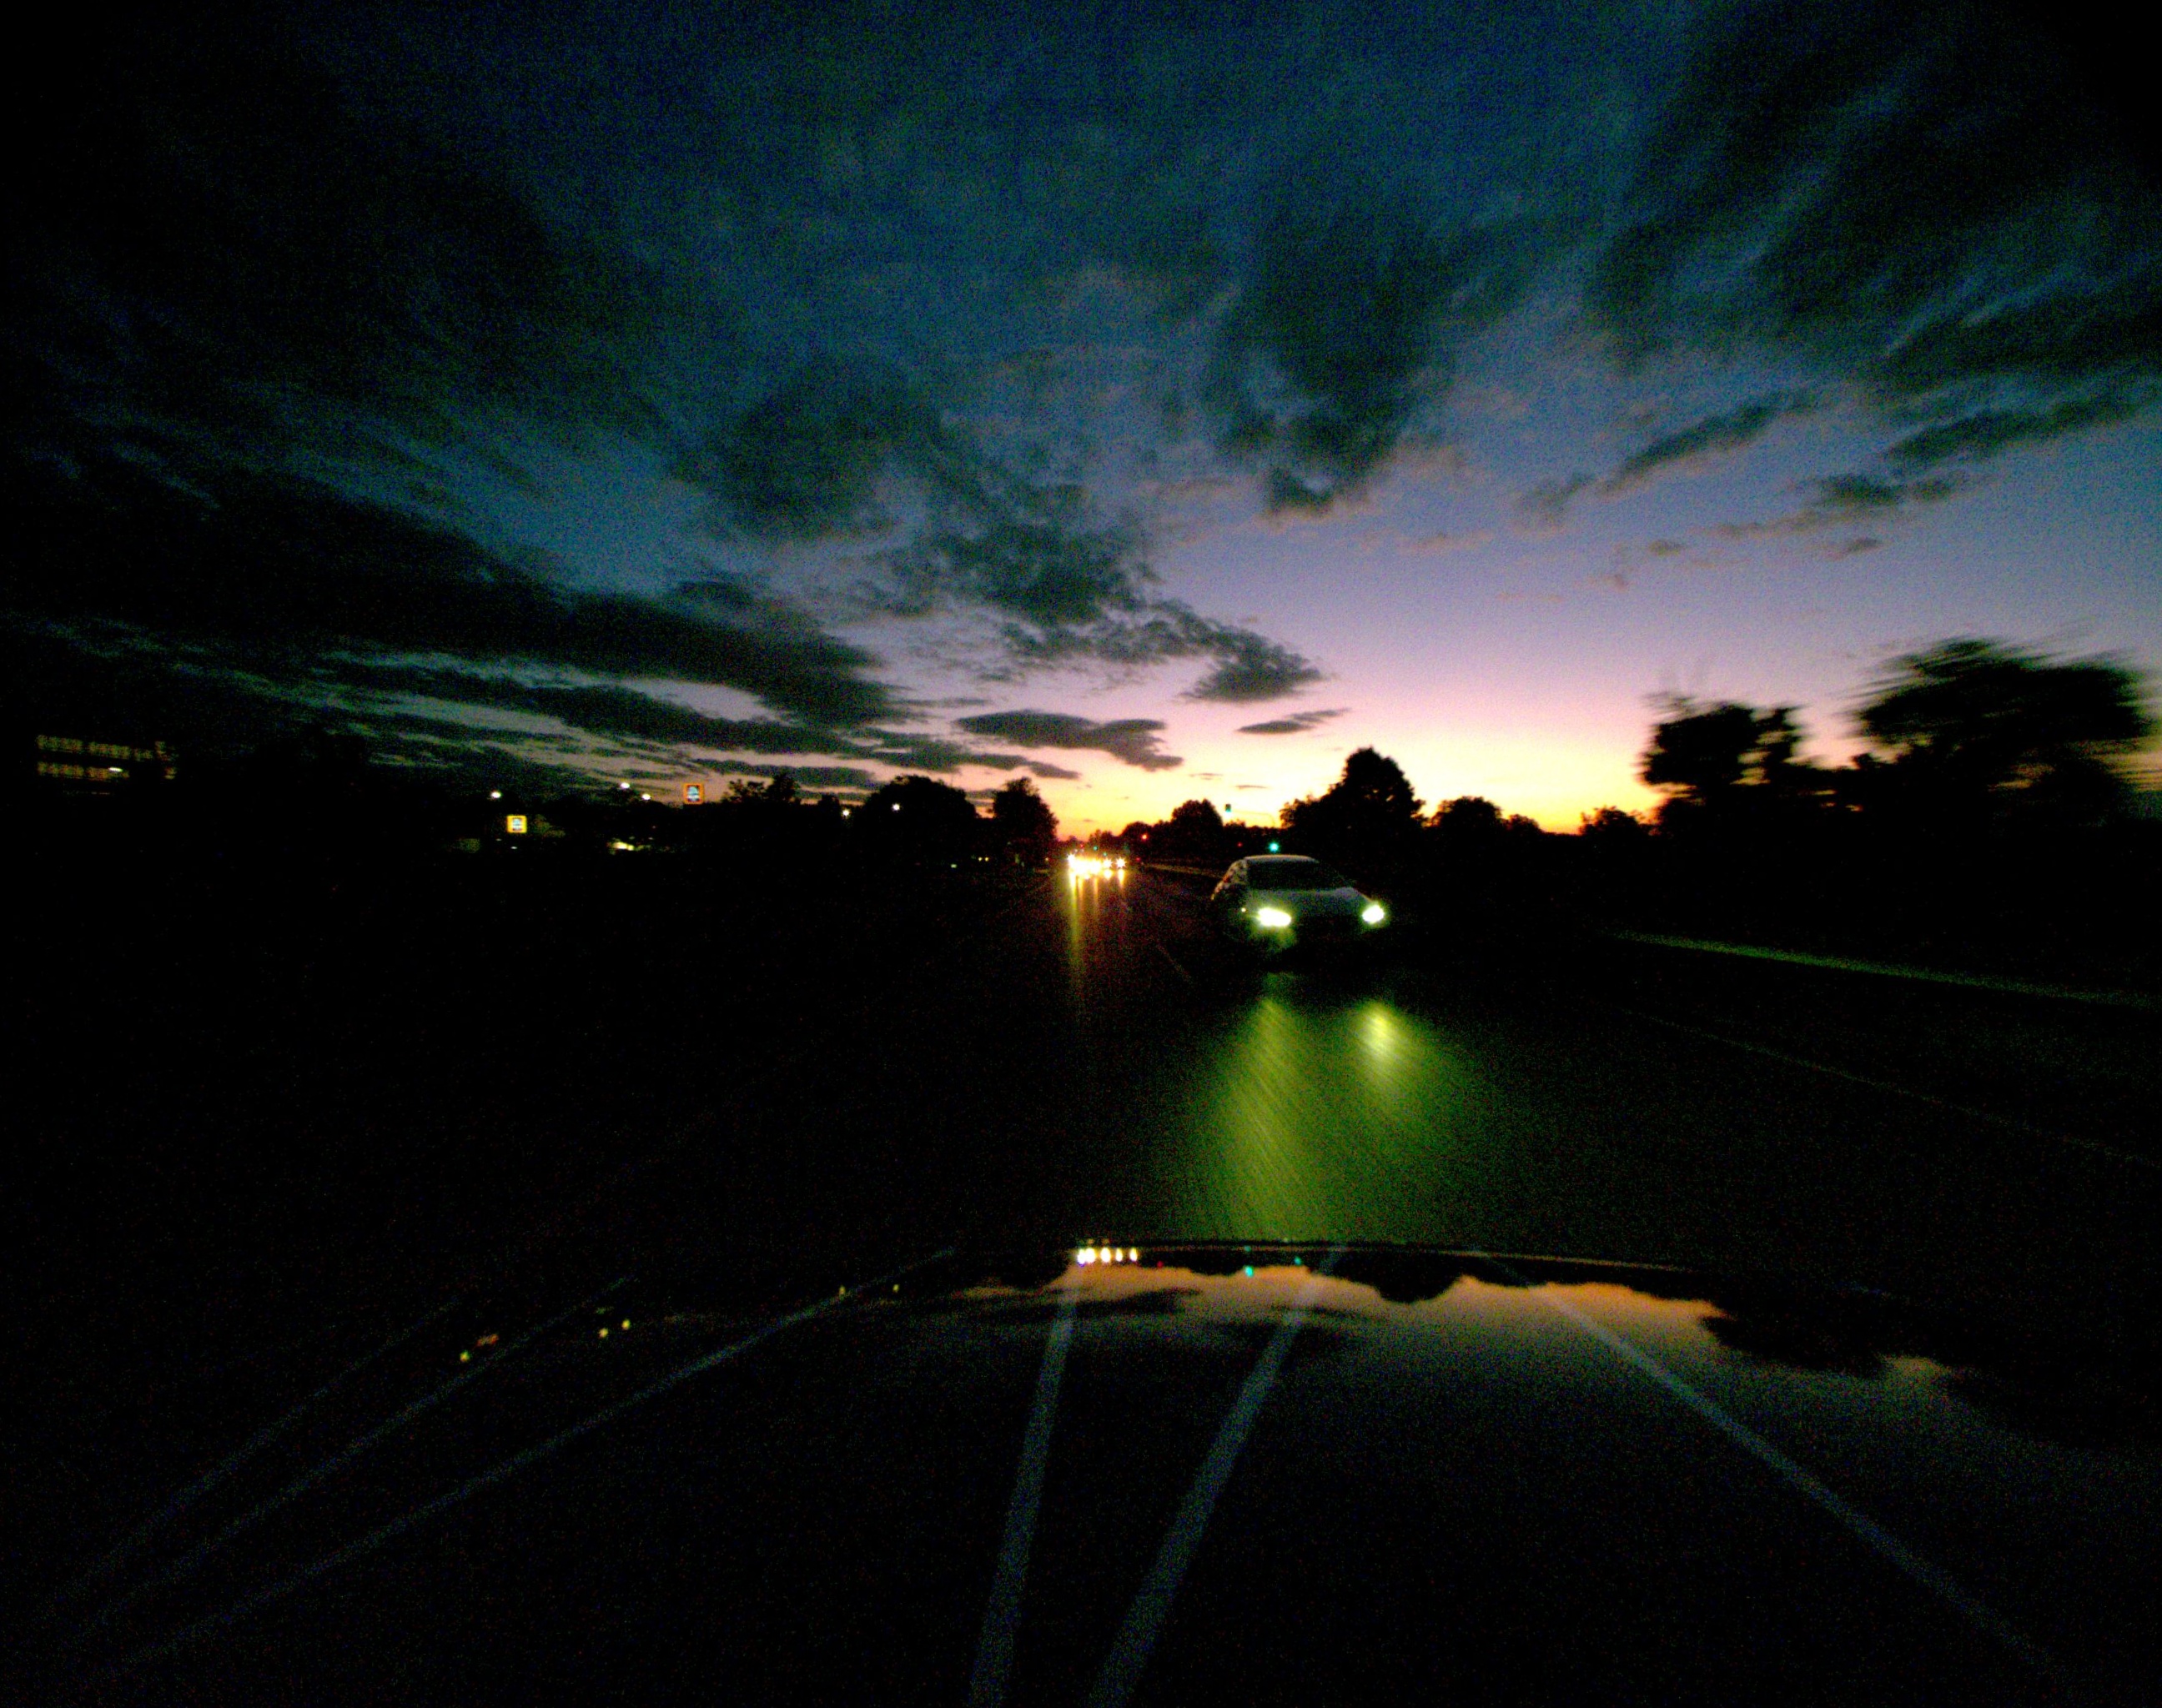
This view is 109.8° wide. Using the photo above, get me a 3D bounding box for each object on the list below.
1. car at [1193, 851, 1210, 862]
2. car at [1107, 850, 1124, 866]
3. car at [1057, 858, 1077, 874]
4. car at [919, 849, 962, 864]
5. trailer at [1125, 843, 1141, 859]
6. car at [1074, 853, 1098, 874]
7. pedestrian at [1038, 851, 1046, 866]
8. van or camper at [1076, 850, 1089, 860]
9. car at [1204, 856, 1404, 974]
[{"bbox_3d":[16.502,0.279,103.972,1.656,1.376,4.029,-2,1,0],"label":"car"},{"bbox_3d":[3.764,0.452,83.771,1.760,1.692,4.250,-2,0,1],"label":"car"},{"bbox_3d":[-1.420,1.258,80.290,1.902,1.547,4.301,-3,0,1],"label":"car"},{"bbox_3d":[-15.417,0.273,83.429,4.477,1.654,1.998,1,0,-7],"label":"car"},{"bbox_3d":[13.441,-0.784,195.699,2.584,3.920,8.871,2,0,-5],"label":"trailer"},{"bbox_3d":[0.400,0.711,57.106,1.663,1.528,3.715,-2,0,1],"label":"car"},{"bbox_3d":[-5.222,0.572,101.373,0.782,2.002,0.712,-3,1,-38],"label":"pedestrian"},{"bbox_3d":[0.451,0.275,221.883,3.949,3.107,9.941,0,0,0],"label":"van or camper"},{"bbox_3d":[3.205,0.805,11.986,1.819,1.428,4.646,-2,-1,1],"label":"car"}]
